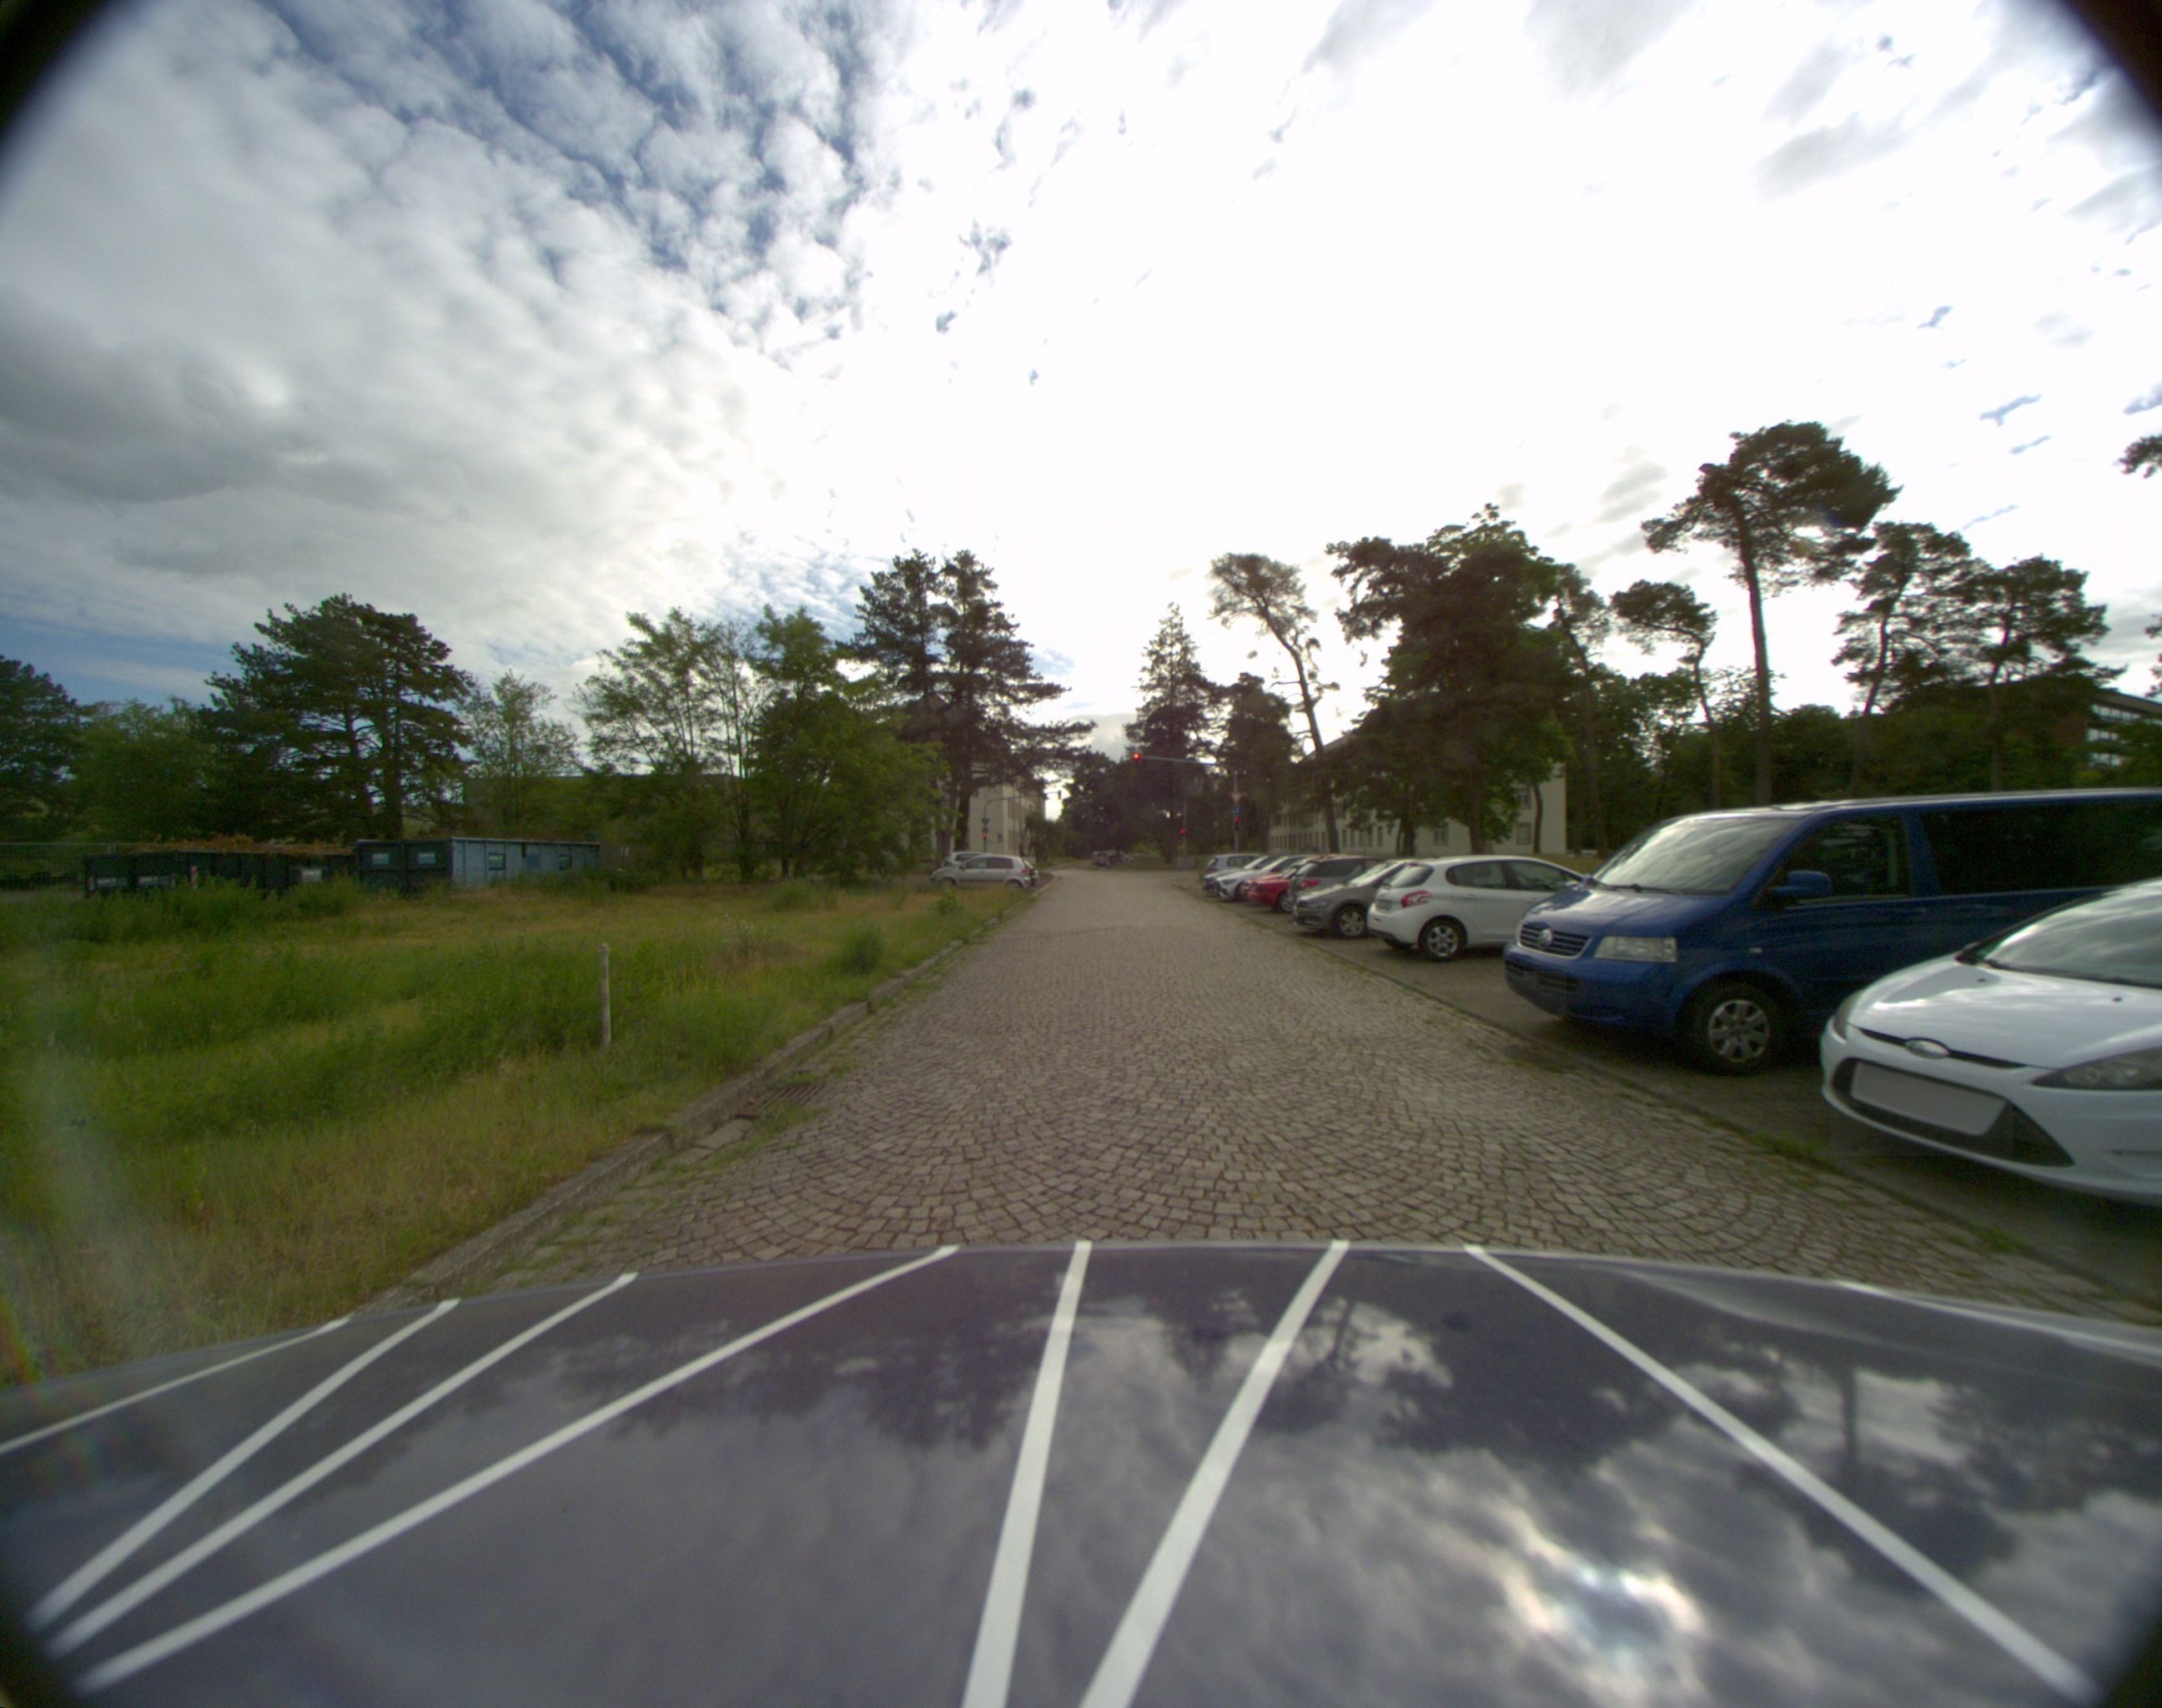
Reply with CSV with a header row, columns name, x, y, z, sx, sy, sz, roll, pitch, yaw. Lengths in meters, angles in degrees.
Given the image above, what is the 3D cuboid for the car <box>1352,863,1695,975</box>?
name,x,y,z,sx,sy,sz,roll,pitch,yaw
car,6.428,0.919,11.419,4.077,1.488,1.846,-1,0,2

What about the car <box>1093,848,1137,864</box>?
name,x,y,z,sx,sy,sz,roll,pitch,yaw
car,4.317,0.245,97.195,5.366,1.987,2.289,-1,0,-7

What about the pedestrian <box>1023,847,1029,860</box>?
name,x,y,z,sx,sy,sz,roll,pitch,yaw
pedestrian,-6.815,-0.072,94.420,0.568,1.691,0.532,-1,1,5

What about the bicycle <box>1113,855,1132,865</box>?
name,x,y,z,sx,sy,sz,roll,pitch,yaw
bicycle,4.479,0.633,82.099,1.950,1.059,0.562,-1,1,-1

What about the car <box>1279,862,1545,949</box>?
name,x,y,z,sx,sy,sz,roll,pitch,yaw
car,6.039,0.920,14.269,4.175,1.483,1.865,-1,0,3

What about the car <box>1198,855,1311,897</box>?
name,x,y,z,sx,sy,sz,roll,pitch,yaw
car,6.757,0.842,29.921,3.997,1.534,1.905,-1,0,0

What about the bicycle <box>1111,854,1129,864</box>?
name,x,y,z,sx,sy,sz,roll,pitch,yaw
bicycle,4.345,0.580,85.360,1.950,1.059,0.562,-1,1,-1

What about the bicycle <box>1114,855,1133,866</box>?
name,x,y,z,sx,sy,sz,roll,pitch,yaw
bicycle,4.416,0.695,78.761,1.898,1.059,0.616,-1,1,-1

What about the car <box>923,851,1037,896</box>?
name,x,y,z,sx,sy,sz,roll,pitch,yaw
car,-3.816,0.720,29.184,4.084,1.506,1.804,2,0,-1

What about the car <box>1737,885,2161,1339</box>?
name,x,y,z,sx,sy,sz,roll,pitch,yaw
car,5.897,0.941,3.546,4.177,1.501,1.781,-1,0,-1

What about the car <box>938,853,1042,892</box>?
name,x,y,z,sx,sy,sz,roll,pitch,yaw
car,-3.749,0.740,31.893,4.084,1.444,1.885,2,0,-1

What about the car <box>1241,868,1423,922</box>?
name,x,y,z,sx,sy,sz,roll,pitch,yaw
car,6.431,1.036,19.847,4.176,1.259,1.831,-1,0,2

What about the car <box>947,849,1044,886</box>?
name,x,y,z,sx,sy,sz,roll,pitch,yaw
car,-4.126,0.642,37.170,4.504,1.556,1.905,2,0,-1

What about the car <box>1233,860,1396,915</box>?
name,x,y,z,sx,sy,sz,roll,pitch,yaw
car,6.724,0.940,22.213,4.176,1.468,1.864,-1,0,1

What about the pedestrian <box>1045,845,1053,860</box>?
name,x,y,z,sx,sy,sz,roll,pitch,yaw
pedestrian,-3.963,-0.177,93.359,0.589,1.926,0.792,-1,1,-32

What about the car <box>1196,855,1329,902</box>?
name,x,y,z,sx,sy,sz,roll,pitch,yaw
car,6.434,0.848,27.261,4.261,1.539,1.935,-1,0,-2

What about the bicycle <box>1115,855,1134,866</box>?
name,x,y,z,sx,sy,sz,roll,pitch,yaw
bicycle,4.574,0.675,79.842,1.950,1.059,0.562,-1,1,-1

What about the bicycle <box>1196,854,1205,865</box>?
name,x,y,z,sx,sy,sz,roll,pitch,yaw
bicycle,10.416,0.483,66.044,0.294,0.911,1.052,-1,0,-20

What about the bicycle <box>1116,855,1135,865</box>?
name,x,y,z,sx,sy,sz,roll,pitch,yaw
bicycle,4.672,0.663,80.488,1.950,1.059,0.562,-1,1,-1

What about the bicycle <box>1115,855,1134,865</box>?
name,x,y,z,sx,sy,sz,roll,pitch,yaw
bicycle,4.597,0.655,80.975,1.950,1.059,0.562,-1,1,-1

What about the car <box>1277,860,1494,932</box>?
name,x,y,z,sx,sy,sz,roll,pitch,yaw
car,6.738,0.911,17.182,4.176,1.473,1.846,-1,0,2

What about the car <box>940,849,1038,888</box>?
name,x,y,z,sx,sy,sz,roll,pitch,yaw
car,-4.121,0.653,34.617,4.251,1.587,1.884,2,0,-2

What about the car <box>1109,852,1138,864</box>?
name,x,y,z,sx,sy,sz,roll,pitch,yaw
car,5.218,0.502,93.543,3.439,1.440,1.913,-1,0,0

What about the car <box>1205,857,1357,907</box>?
name,x,y,z,sx,sy,sz,roll,pitch,yaw
car,6.359,0.877,24.518,4.385,1.499,1.935,-1,0,-1

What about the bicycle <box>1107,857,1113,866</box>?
name,x,y,z,sx,sy,sz,roll,pitch,yaw
bicycle,2.855,0.733,75.372,0.459,0.903,1.663,-1,0,5

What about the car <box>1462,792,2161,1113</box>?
name,x,y,z,sx,sy,sz,roll,pitch,yaw
car,6.003,0.655,6.130,4.794,2.110,2.115,-1,0,0
